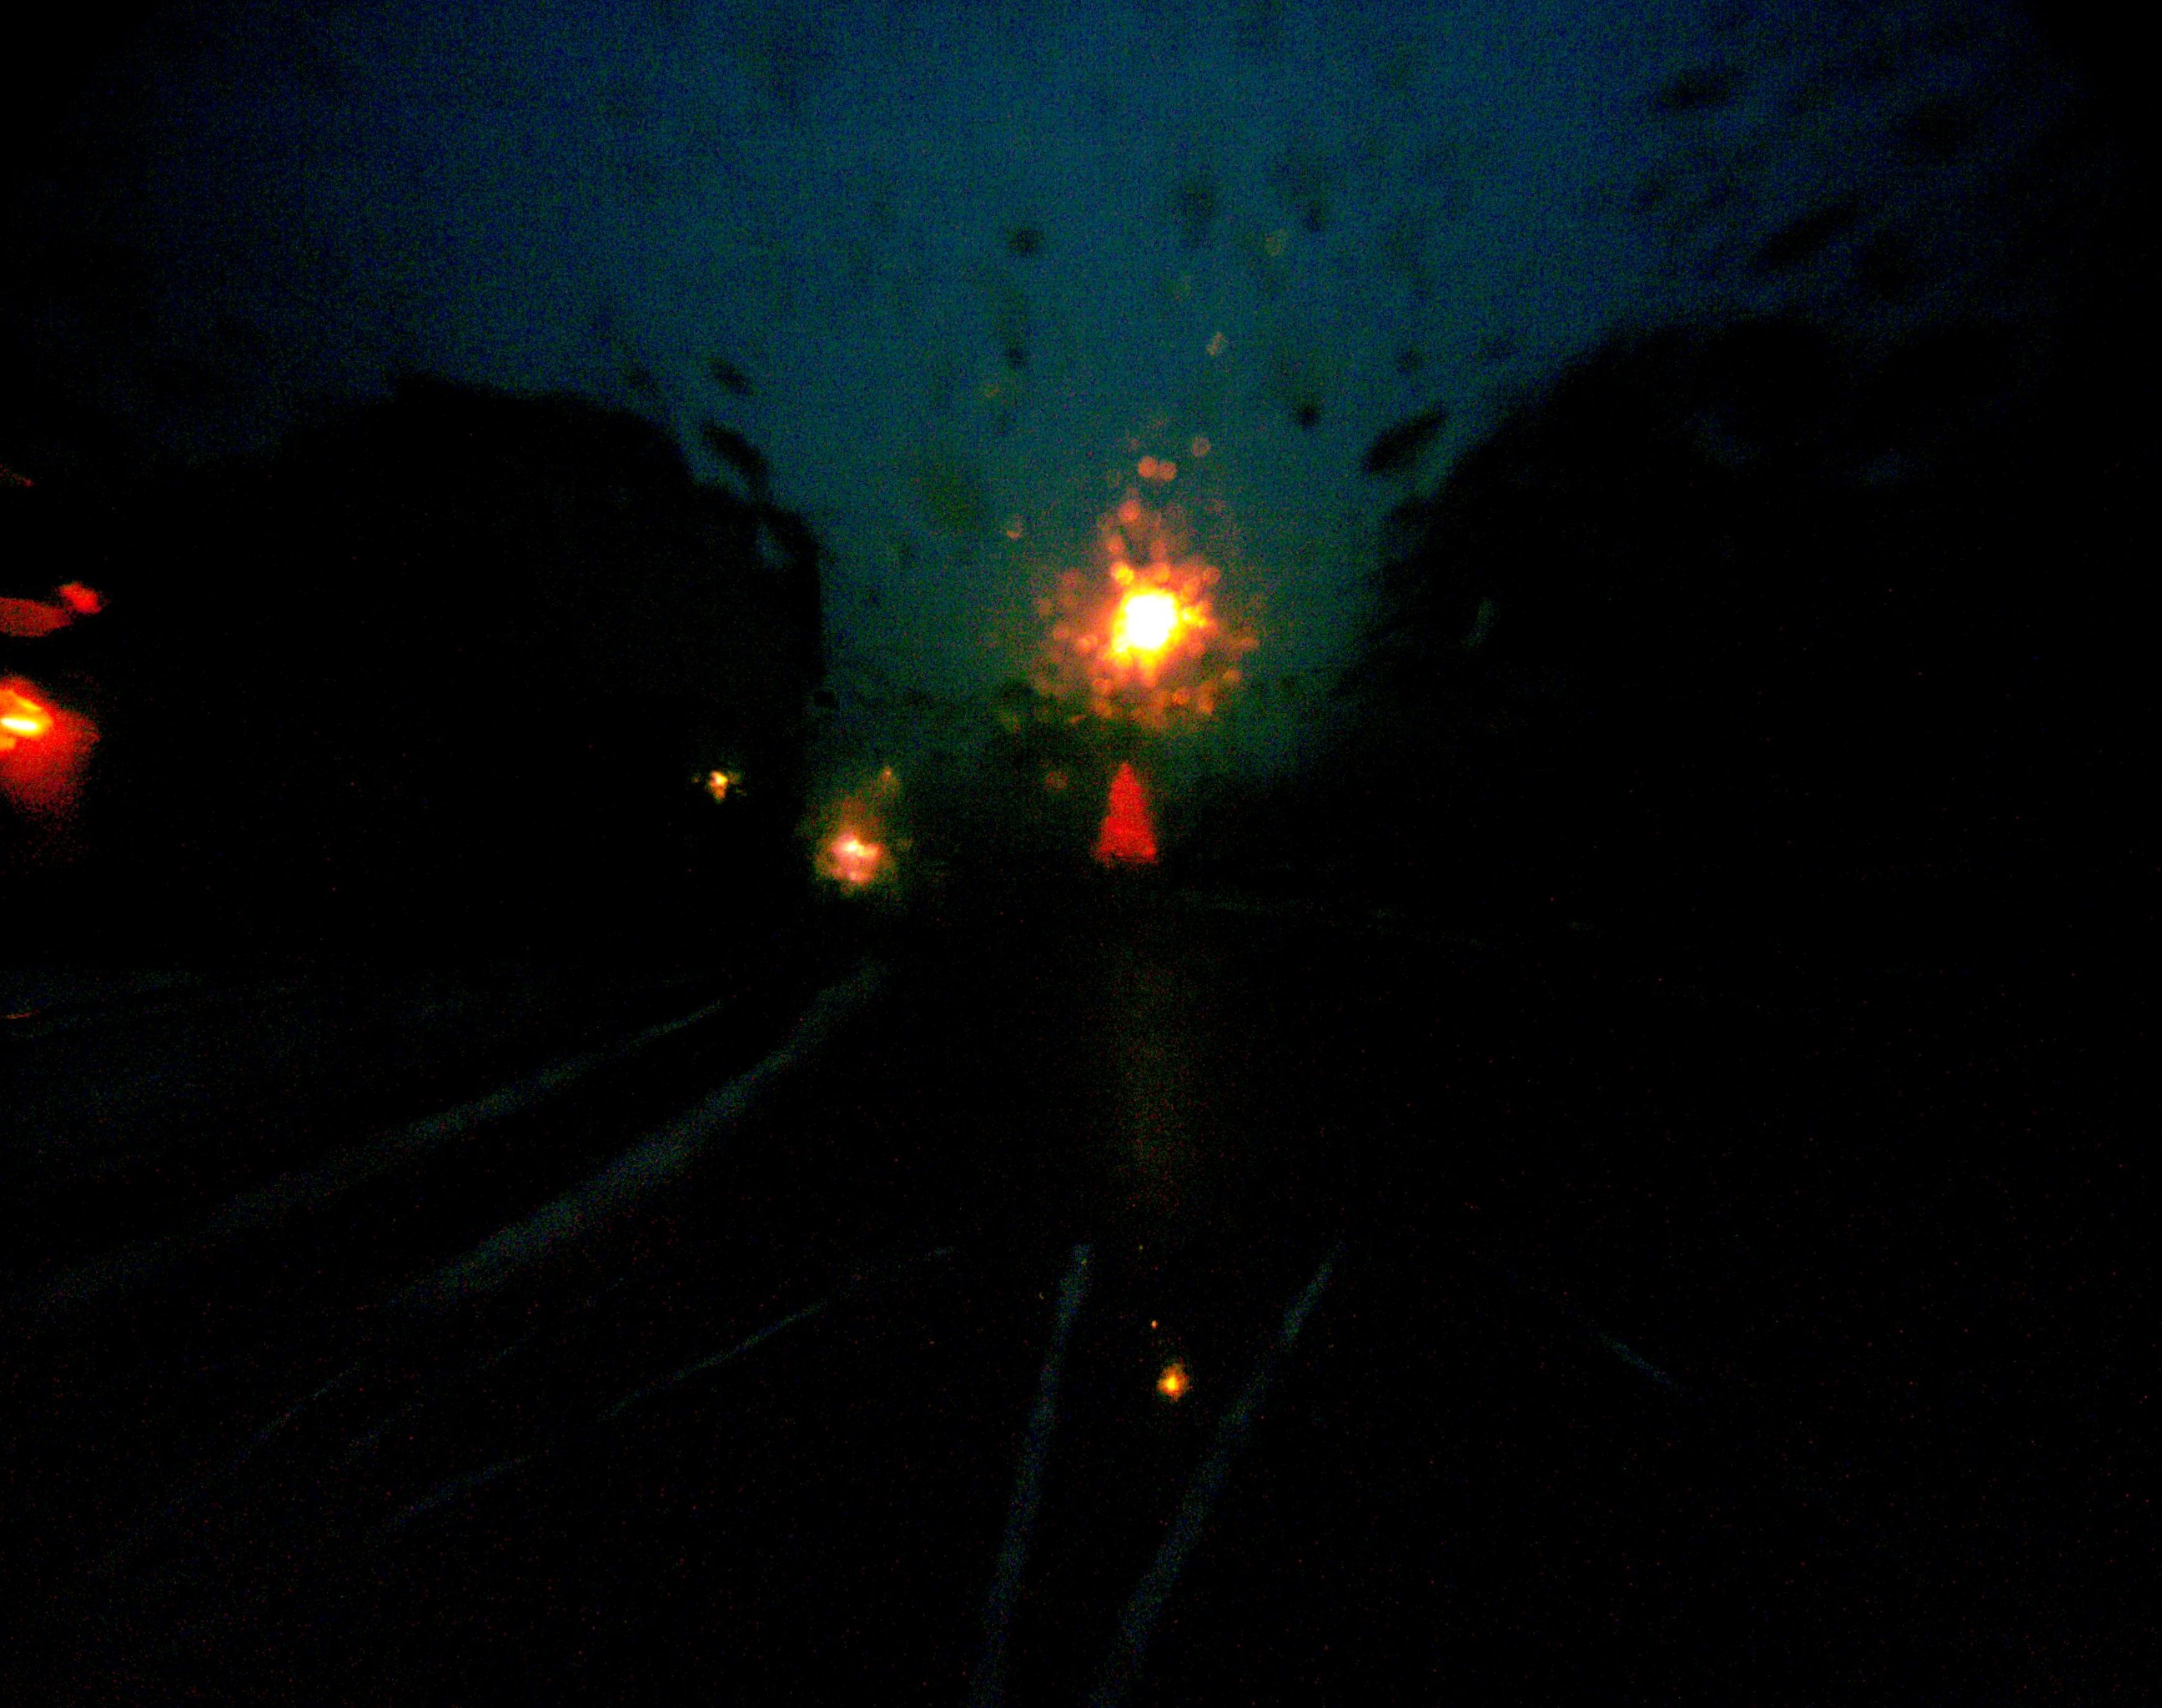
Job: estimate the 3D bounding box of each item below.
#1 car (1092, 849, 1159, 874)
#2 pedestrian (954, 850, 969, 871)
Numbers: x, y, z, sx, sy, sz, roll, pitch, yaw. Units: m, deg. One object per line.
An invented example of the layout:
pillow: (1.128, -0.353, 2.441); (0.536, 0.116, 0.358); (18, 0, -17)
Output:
car: (2.726, 0.423, 46.605); (3.791, 1.365, 1.623); (-2, 1, -21)
pedestrian: (-7.816, 0.430, 49.700); (0.811, 1.322, 0.659); (-2, 2, -24)
